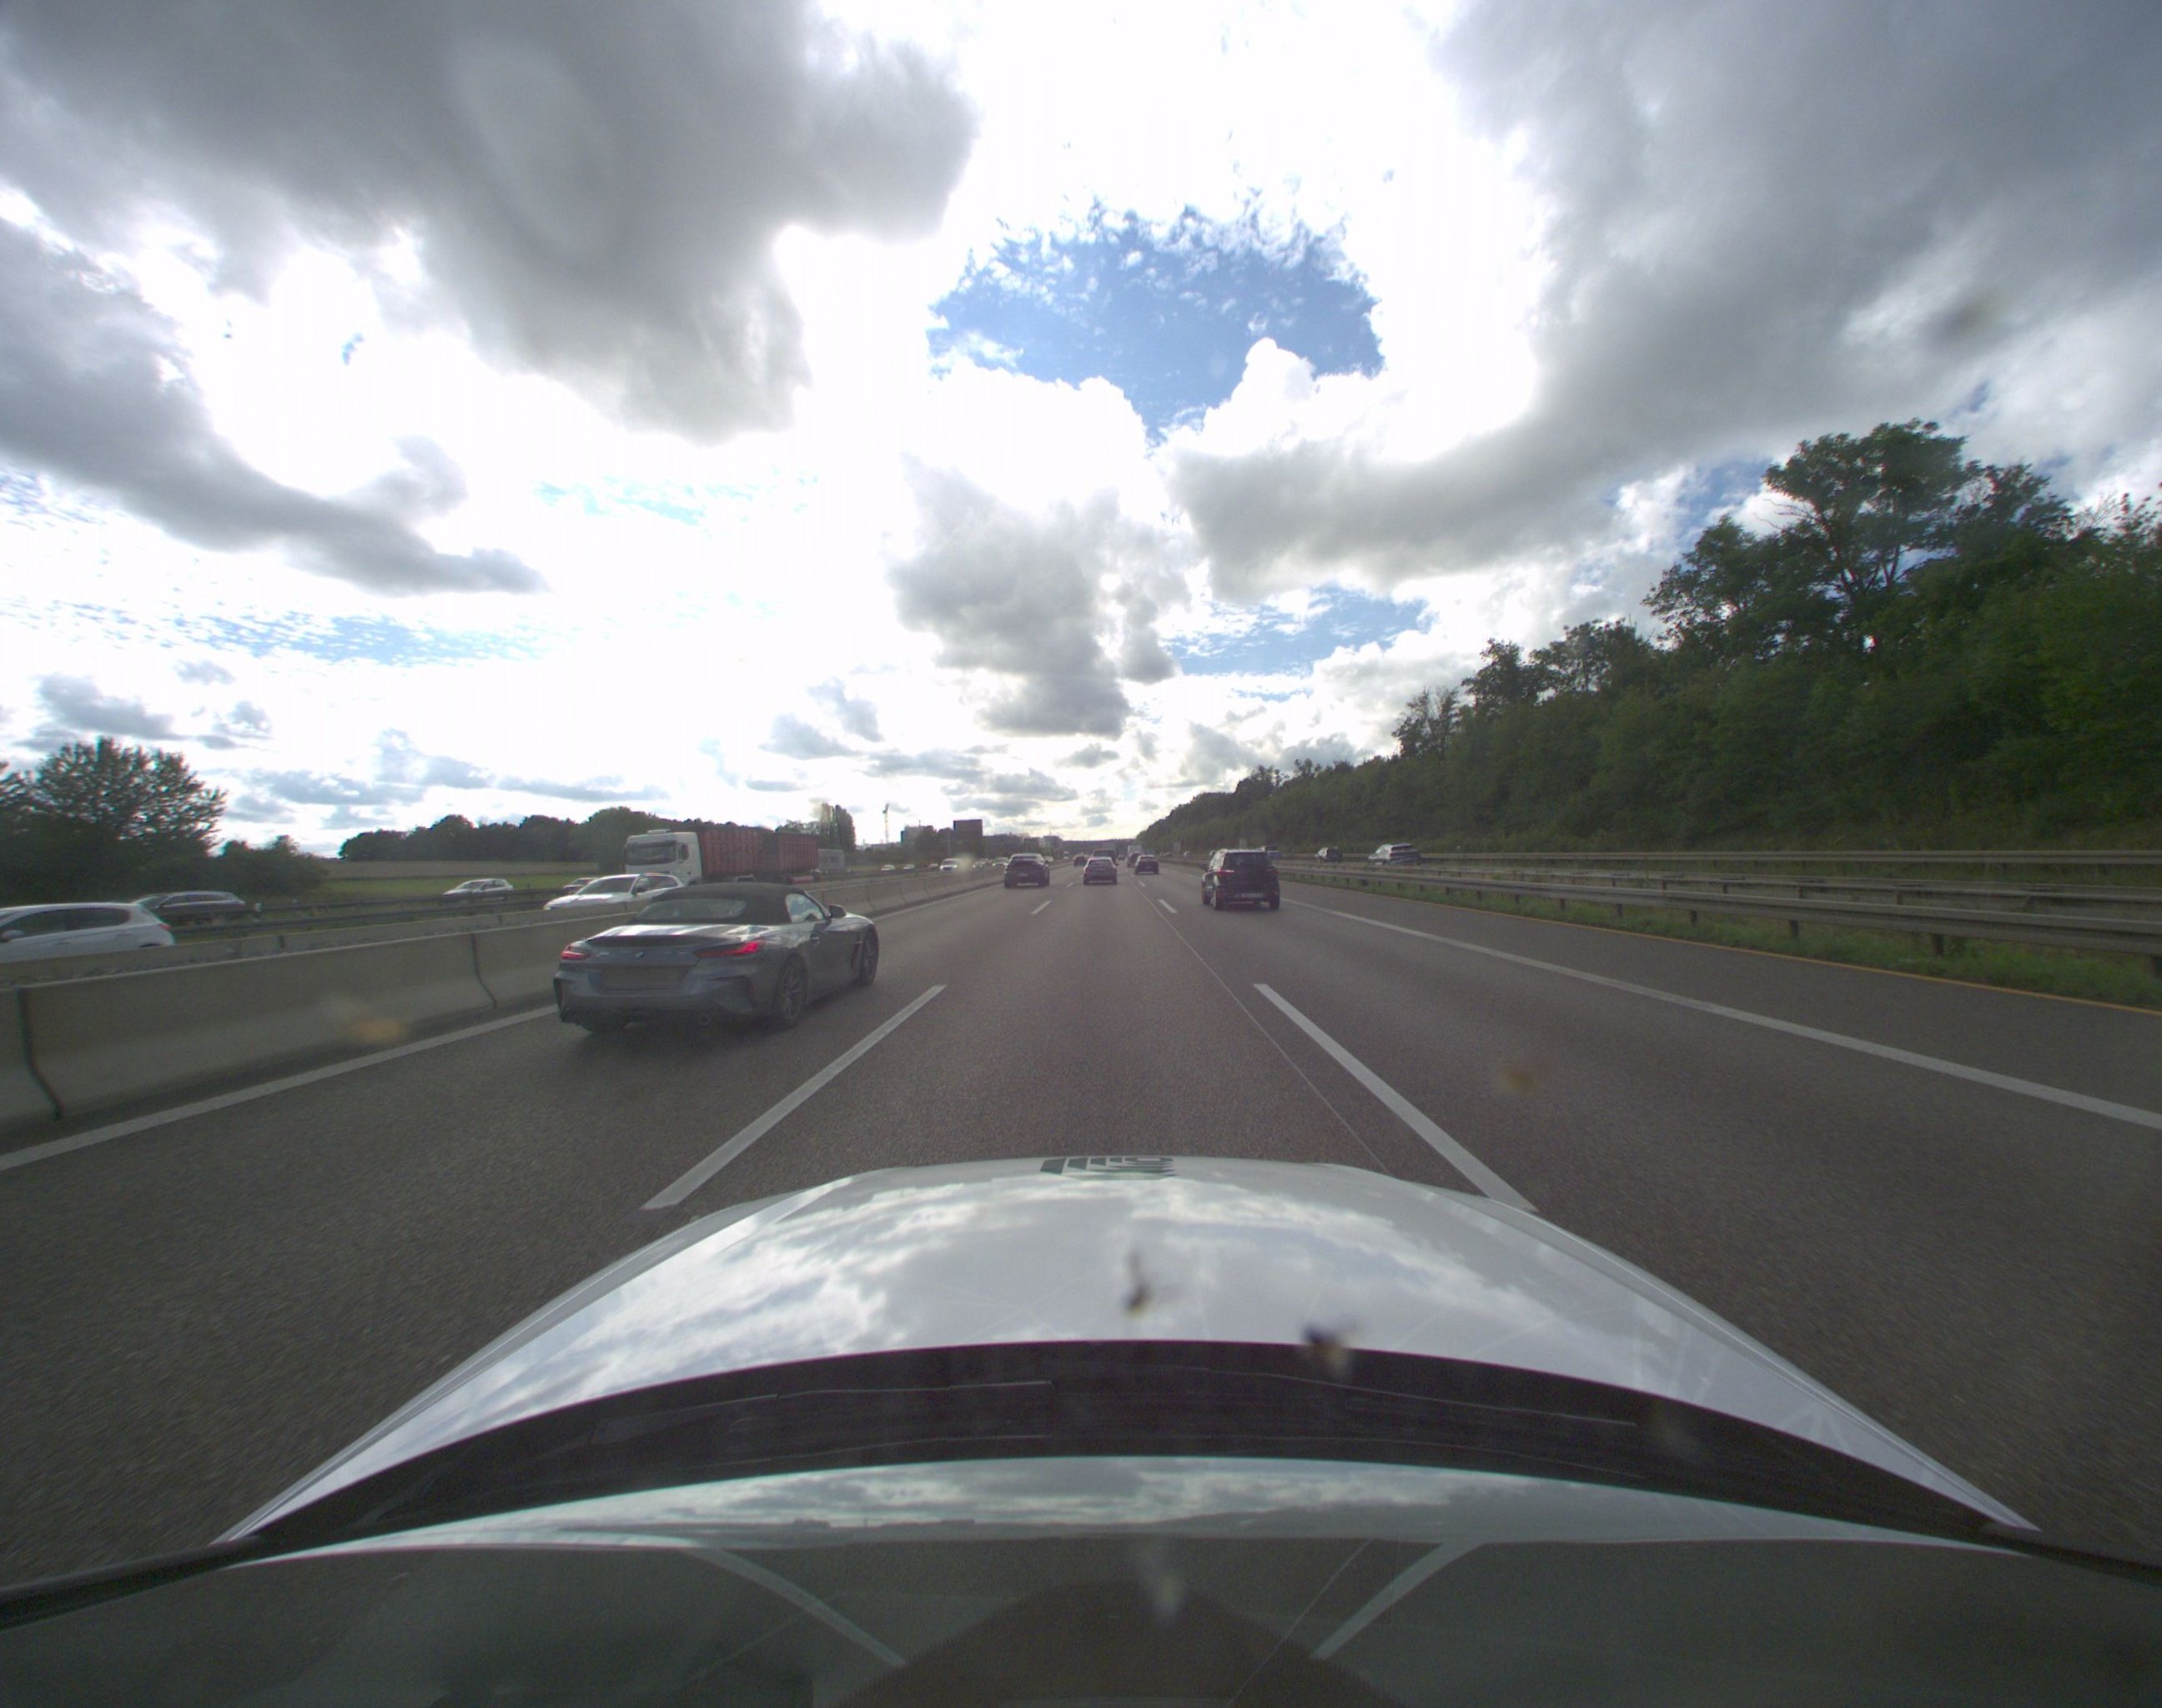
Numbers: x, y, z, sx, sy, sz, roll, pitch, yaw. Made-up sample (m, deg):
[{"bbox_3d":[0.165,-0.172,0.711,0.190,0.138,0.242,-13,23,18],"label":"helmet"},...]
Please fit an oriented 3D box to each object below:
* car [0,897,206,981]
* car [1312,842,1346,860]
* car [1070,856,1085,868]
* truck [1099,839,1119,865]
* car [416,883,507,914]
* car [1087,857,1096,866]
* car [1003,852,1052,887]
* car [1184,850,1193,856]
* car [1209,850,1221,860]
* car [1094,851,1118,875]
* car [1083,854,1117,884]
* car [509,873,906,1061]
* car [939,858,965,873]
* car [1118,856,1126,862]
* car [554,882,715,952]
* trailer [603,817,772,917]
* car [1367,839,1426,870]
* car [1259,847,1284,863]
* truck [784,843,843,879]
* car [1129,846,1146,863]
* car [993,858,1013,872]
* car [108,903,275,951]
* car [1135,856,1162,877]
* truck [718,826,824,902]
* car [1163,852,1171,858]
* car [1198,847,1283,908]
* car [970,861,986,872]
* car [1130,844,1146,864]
[{"bbox_3d":[-18.194,1.469,14.047,1.649,1.192,4.132,-2,0,2],"label":"car"},{"bbox_3d":[22.861,-0.281,75.224,1.723,1.546,4.306,-4,0,0],"label":"car"},{"bbox_3d":[-0.496,1.102,115.163,1.866,1.698,4.073,-1,0,2],"label":"car"},{"bbox_3d":[4.980,-0.408,144.052,3.250,4.375,11.031,-1,0,2],"label":"truck"},{"bbox_3d":[-35.739,2.533,47.167,1.722,1.533,4.454,-1,0,2],"label":"car"},{"bbox_3d":[2.036,1.456,160.385,1.691,1.611,4.115,-2,0,1],"label":"car"},{"bbox_3d":[-2.653,0.742,41.627,1.905,1.636,5.502,-1,0,2],"label":"car"},{"bbox_3d":[27.728,-0.283,210.190,1.746,1.517,4.191,-1,0,1],"label":"car"},{"bbox_3d":[25.258,0.198,153.585,1.745,1.695,4.192,-1,0,2],"label":"car"},{"bbox_3d":[1.882,0.680,61.699,1.714,1.724,4.393,-1,0,2],"label":"car"},{"bbox_3d":[1.023,0.755,43.612,1.714,1.479,4.393,-1,0,2],"label":"car"},{"bbox_3d":[-3.443,0.940,8.820,1.866,1.302,4.944,-1,0,2],"label":"car"},{"bbox_3d":[-13.537,1.201,85.567,1.757,1.532,4.943,-2,0,1],"label":"car"},{"bbox_3d":[10.722,1.299,212.891,1.745,1.695,4.192,-1,0,2],"label":"car"},{"bbox_3d":[-11.958,1.617,22.230,1.682,1.505,4.645,-2,0,2],"label":"car"},{"bbox_3d":[-19.321,0.579,41.132,3.035,4.288,10.658,-2,0,1],"label":"trailer"},{"bbox_3d":[18.496,0.019,47.976,1.840,1.650,4.308,-4,0,2],"label":"car"},{"bbox_3d":[19.473,0.082,83.339,1.590,1.546,4.190,-1,0,0],"label":"car"},{"bbox_3d":[-37.515,0.962,115.089,3.062,4.802,14.133,-1,0,2],"label":"truck"},{"bbox_3d":[6.722,0.034,97.384,1.906,1.919,4.032,-1,0,2],"label":"car"},{"bbox_3d":[-9.564,1.315,99.831,1.757,1.532,4.944,-2,0,2],"label":"car"},{"bbox_3d":[-35.693,2.877,32.884,1.722,1.533,4.454,-1,0,2],"label":"car"},{"bbox_3d":[5.227,0.946,63.181,1.825,1.521,4.226,-1,0,2],"label":"car"},{"bbox_3d":[-19.073,0.577,50.853,3.035,4.288,8.591,-2,0,1],"label":"truck"},{"bbox_3d":[24.566,0.223,232.567,1.722,1.533,4.454,-2,0,2],"label":"car"},{"bbox_3d":[4.455,0.615,23.287,1.691,1.564,4.115,-2,0,1],"label":"car"},{"bbox_3d":[-16.278,1.990,128.551,1.757,1.532,4.718,-2,0,1],"label":"car"},{"bbox_3d":[7.262,-0.006,104.158,1.866,2.357,4.284,-1,0,2],"label":"car"}]
